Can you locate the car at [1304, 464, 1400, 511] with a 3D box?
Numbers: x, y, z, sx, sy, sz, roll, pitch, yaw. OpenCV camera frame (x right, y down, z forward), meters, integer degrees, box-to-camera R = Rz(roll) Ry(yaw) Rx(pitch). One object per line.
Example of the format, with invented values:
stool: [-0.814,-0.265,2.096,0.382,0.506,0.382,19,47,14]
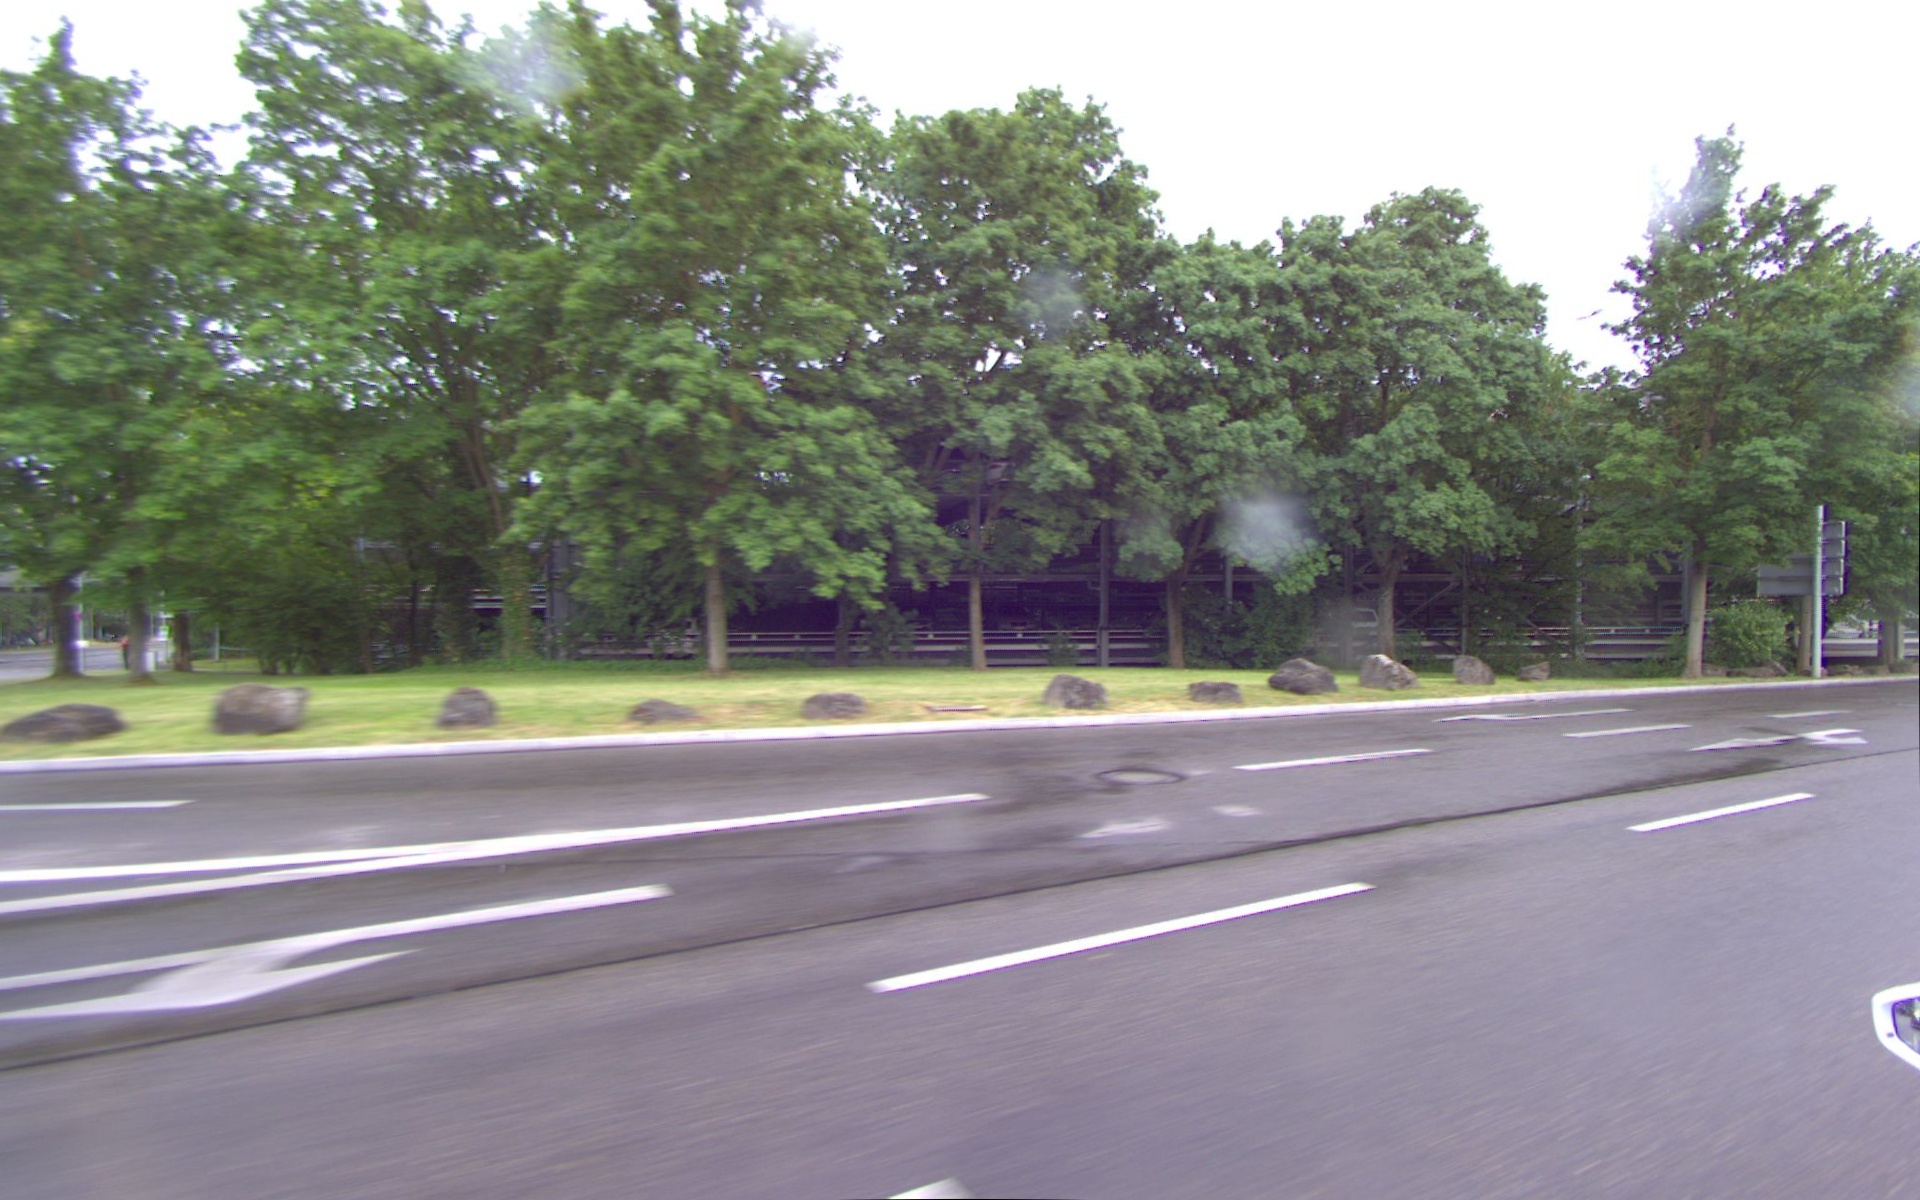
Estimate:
car: [15.163,-4.338,39.099,1.961,1.540,3.997,0,3,-3]

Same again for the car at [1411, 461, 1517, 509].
car: [19.456,-4.418,38.978,1.961,1.540,3.997,0,3,-3]

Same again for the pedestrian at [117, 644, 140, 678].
pedestrian: [-42.076,3.077,50.823,0.701,1.650,0.741,-2,-2,35]

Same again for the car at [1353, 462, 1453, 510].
car: [17.101,-4.380,39.017,1.961,1.540,3.997,0,3,-3]

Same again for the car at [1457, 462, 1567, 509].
car: [21.650,-4.453,39.569,1.961,1.540,3.997,0,3,-3]

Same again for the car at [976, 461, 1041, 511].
car: [1.711,-4.105,36.662,1.961,1.540,3.997,0,3,-3]

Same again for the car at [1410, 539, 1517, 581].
car: [19.526,-1.558,39.152,1.961,1.540,3.997,0,3,-3]

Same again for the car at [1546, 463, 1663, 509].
car: [25.703,-4.507,40.236,1.961,1.540,3.997,0,3,-3]

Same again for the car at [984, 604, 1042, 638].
car: [2.475,1.002,47.742,1.964,1.539,3.994,1,-1,-9]

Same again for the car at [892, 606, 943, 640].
car: [-2.066,1.084,47.559,1.964,1.539,3.994,1,-1,-9]

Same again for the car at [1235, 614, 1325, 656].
car: [12.344,1.337,39.002,1.962,1.539,3.998,0,-1,-4]

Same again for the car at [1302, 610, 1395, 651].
car: [15.168,1.167,39.480,1.961,1.539,3.999,0,-1,-3]

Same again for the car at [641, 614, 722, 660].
car: [-9.730,1.265,35.401,1.961,1.539,3.998,0,-1,-3]
